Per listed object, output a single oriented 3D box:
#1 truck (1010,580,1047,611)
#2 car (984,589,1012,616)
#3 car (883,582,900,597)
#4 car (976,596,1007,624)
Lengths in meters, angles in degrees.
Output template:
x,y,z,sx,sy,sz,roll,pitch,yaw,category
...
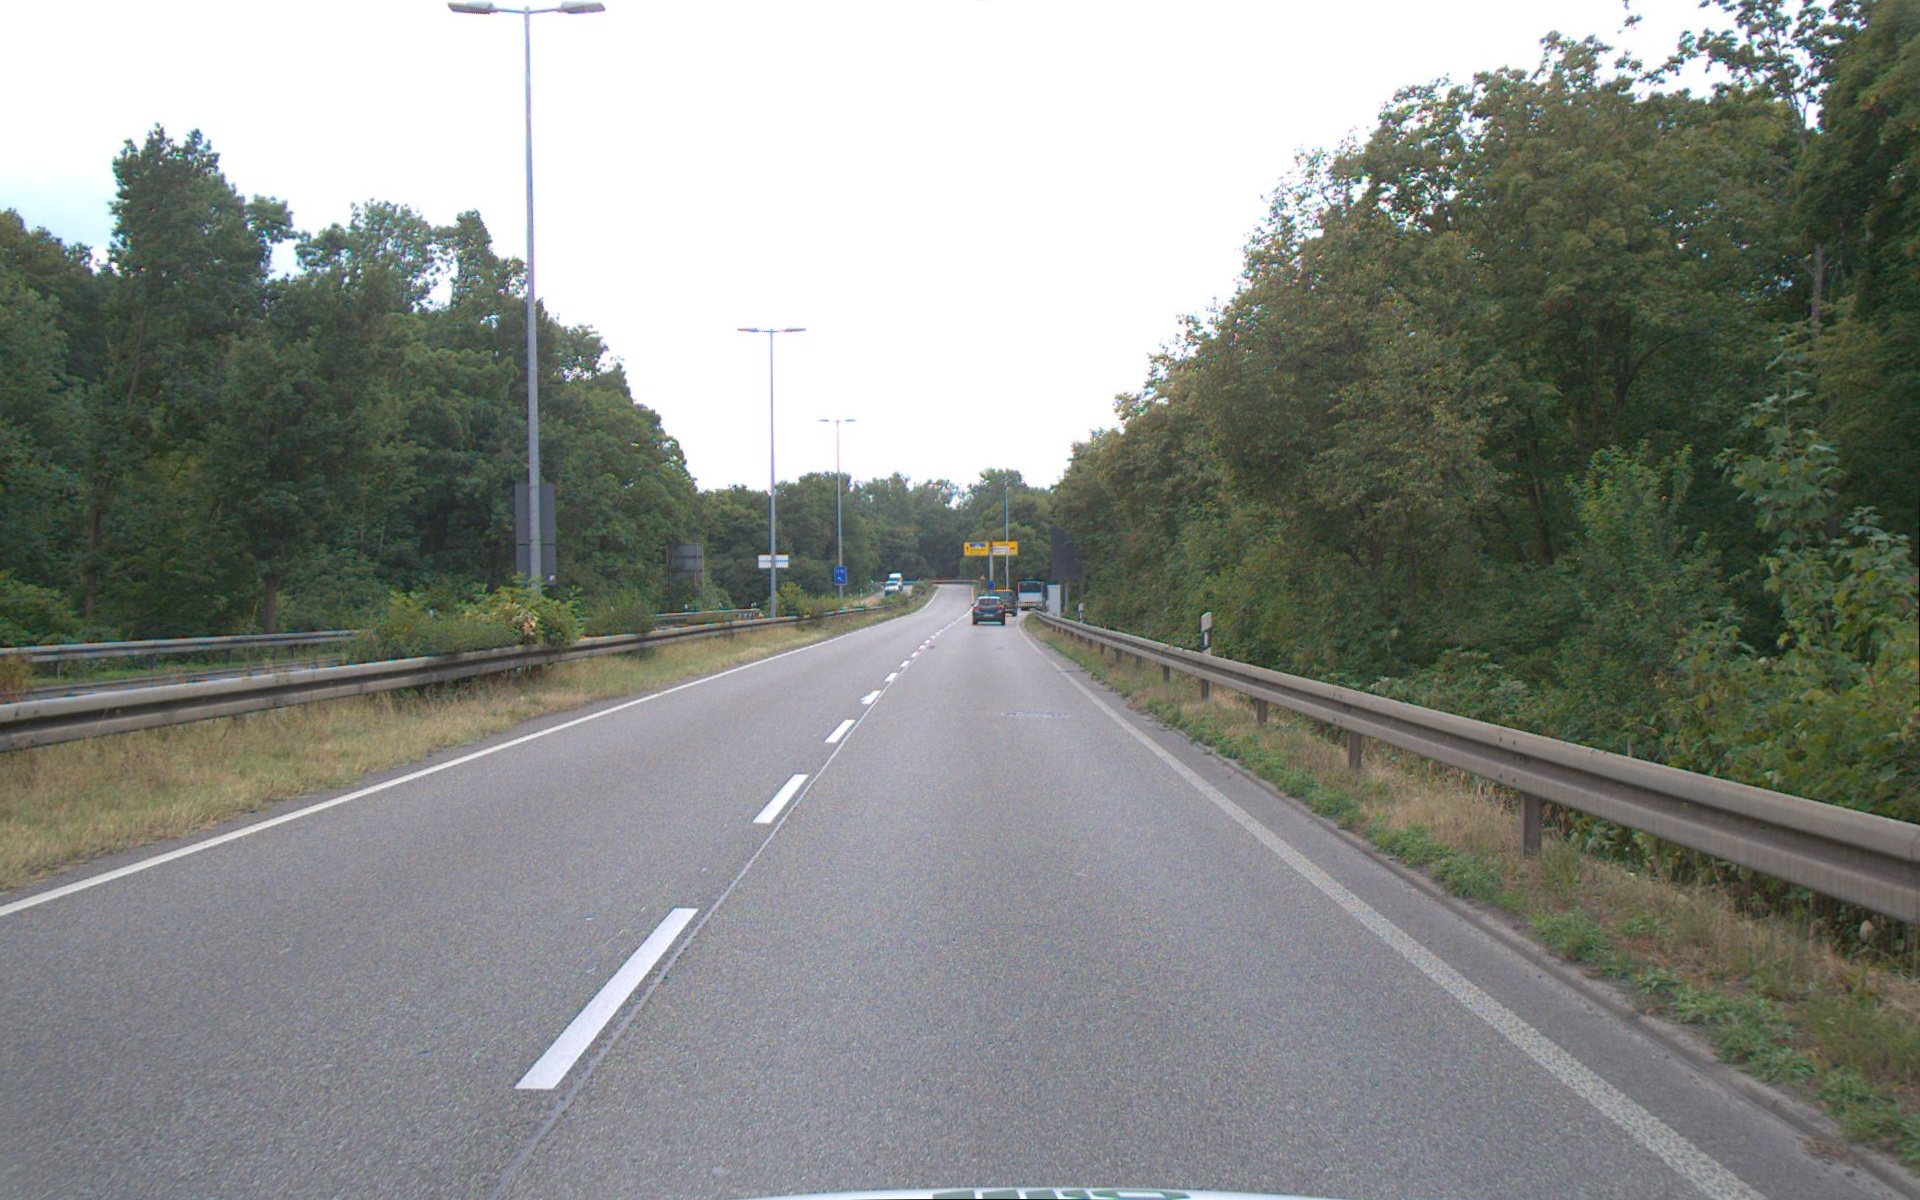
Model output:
x,y,z,sx,sy,sz,roll,pitch,yaw,category
6.874,-0.378,164.560,2.917,2.936,7.996,-1,-1,8,truck
2.917,0.212,126.899,2.103,2.049,4.000,0,-1,2,car
-9.360,-1.466,226.301,1.952,1.879,4.002,0,1,2,car
1.686,0.552,88.520,1.592,1.402,4.000,0,-1,2,car
